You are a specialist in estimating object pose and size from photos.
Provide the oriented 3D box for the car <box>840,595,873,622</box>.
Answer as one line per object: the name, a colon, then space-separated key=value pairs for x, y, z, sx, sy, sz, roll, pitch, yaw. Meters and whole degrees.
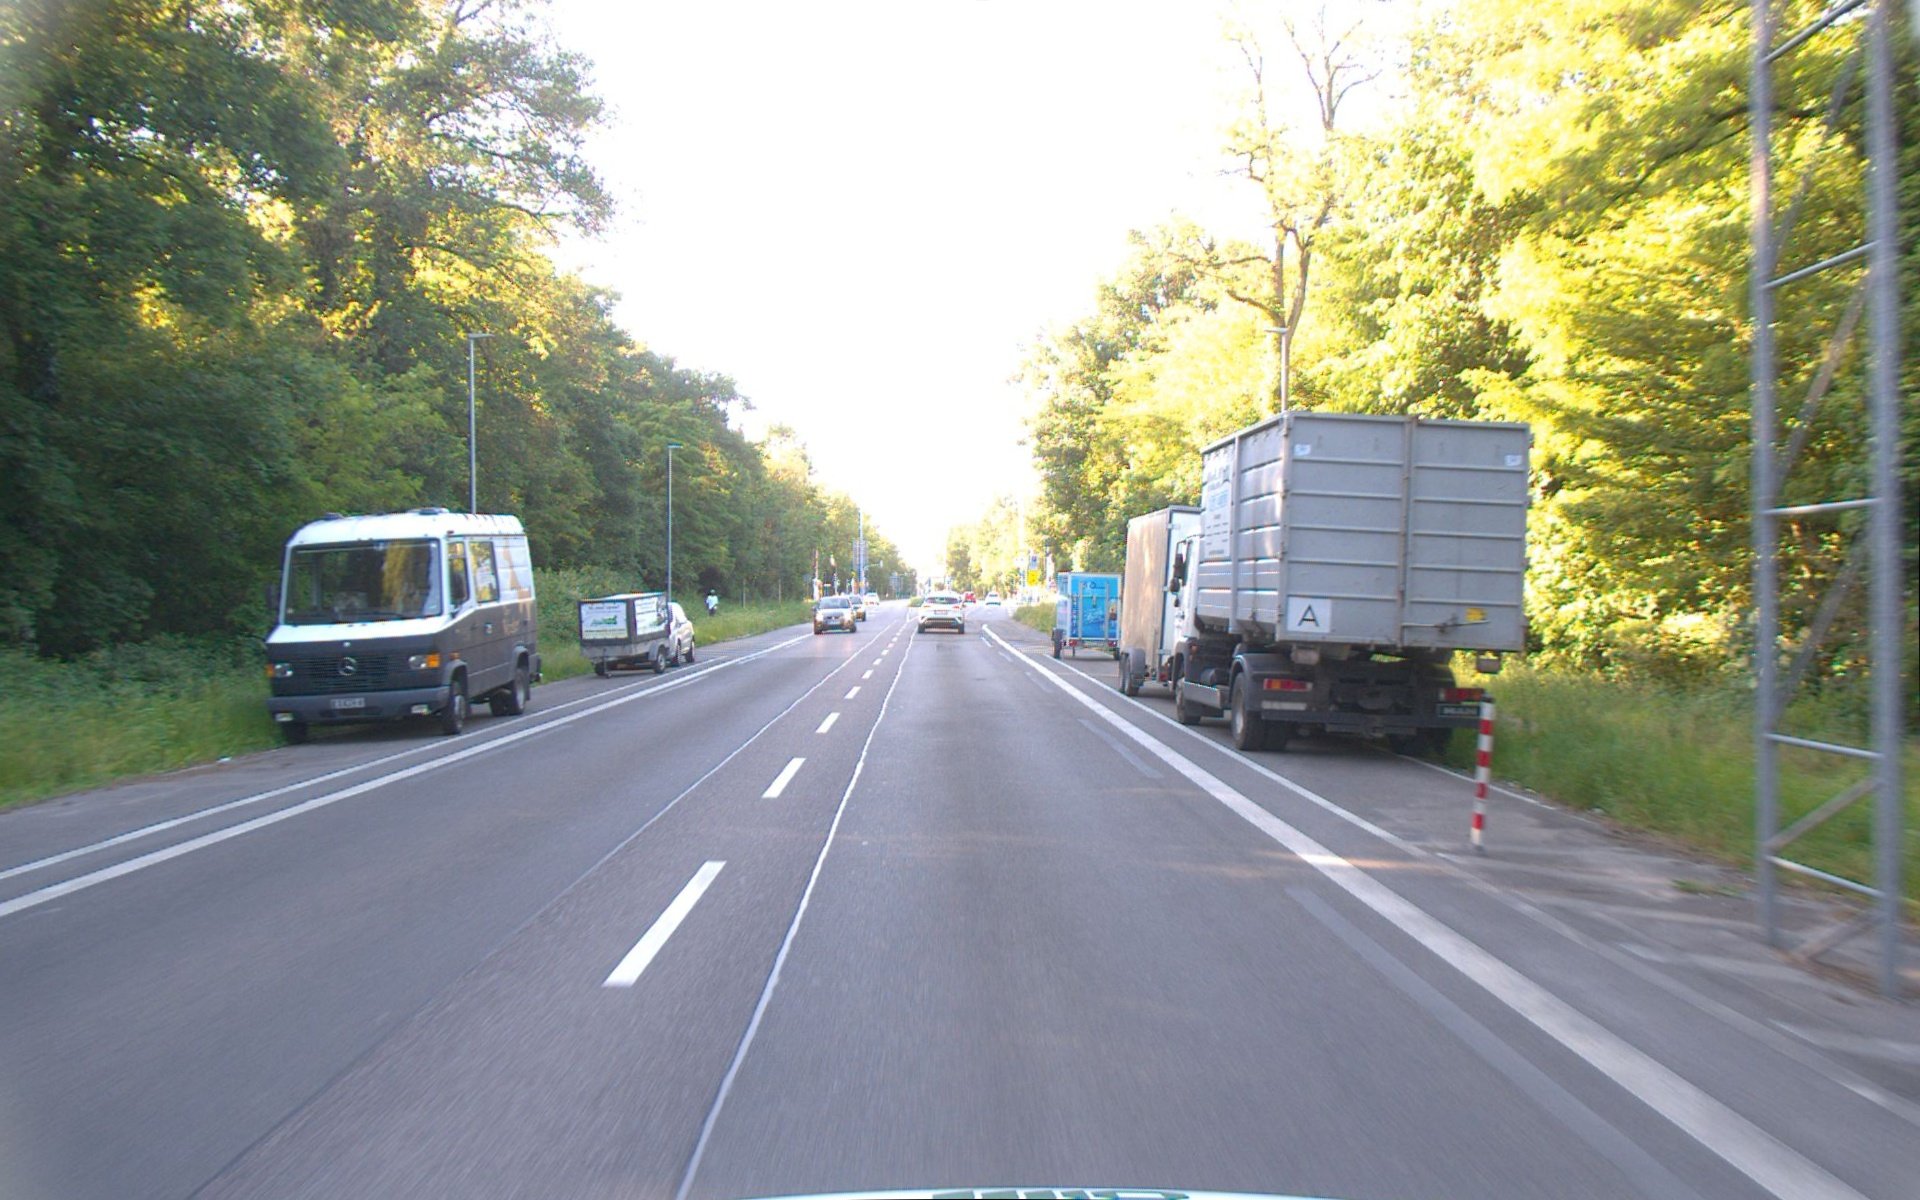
car: x=-5.902 y=0.463 z=94.932 sx=1.644 sy=1.516 sz=4.689 roll=-1 pitch=0 yaw=-1

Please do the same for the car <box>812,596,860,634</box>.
car: x=-4.966 y=0.581 z=66.464 sx=1.644 sy=1.440 sz=4.000 roll=-1 pitch=0 yaw=-1

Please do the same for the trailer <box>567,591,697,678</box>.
trailer: x=-6.847 y=0.687 z=34.819 sx=1.439 sy=1.688 sz=3.368 roll=-2 pitch=0 yaw=12

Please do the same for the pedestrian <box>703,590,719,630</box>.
pedestrian: x=-12.744 y=0.511 z=84.804 sx=0.679 sy=2.049 sz=0.712 roll=1 pitch=0 yaw=0

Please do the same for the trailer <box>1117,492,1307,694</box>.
trailer: x=3.903 y=-0.112 z=26.577 sx=2.226 sy=2.894 sz=5.207 roll=1 pitch=0 yaw=0

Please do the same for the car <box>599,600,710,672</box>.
car: x=-7.196 y=0.808 z=39.341 sx=1.830 sy=1.489 sz=4.132 roll=-4 pitch=0 yaw=0

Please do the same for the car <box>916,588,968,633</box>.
car: x=-0.725 y=0.389 z=64.314 sx=1.953 sy=1.668 sz=3.999 roll=-1 pitch=0 yaw=-1

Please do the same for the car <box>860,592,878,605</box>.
car: x=-11.089 y=-0.176 z=201.937 sx=1.953 sy=1.489 sz=3.999 roll=1 pitch=0 yaw=-1

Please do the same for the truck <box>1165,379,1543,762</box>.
truck: x=3.996 y=-0.264 z=18.465 sx=2.454 sy=3.425 sz=7.106 roll=1 pitch=0 yaw=-1

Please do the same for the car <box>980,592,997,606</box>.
car: x=3.407 y=-0.129 z=197.977 sx=1.953 sy=1.646 sz=4.000 roll=1 pitch=0 yaw=0

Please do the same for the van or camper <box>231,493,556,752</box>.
van or camper: x=-7.087 y=0.233 z=21.493 sx=2.255 sy=2.816 sz=5.556 roll=-3 pitch=0 yaw=-1

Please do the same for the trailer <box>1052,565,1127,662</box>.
trailer: x=3.233 y=0.313 z=41.848 sx=1.469 sy=2.274 sz=4.549 roll=1 pitch=0 yaw=-1
